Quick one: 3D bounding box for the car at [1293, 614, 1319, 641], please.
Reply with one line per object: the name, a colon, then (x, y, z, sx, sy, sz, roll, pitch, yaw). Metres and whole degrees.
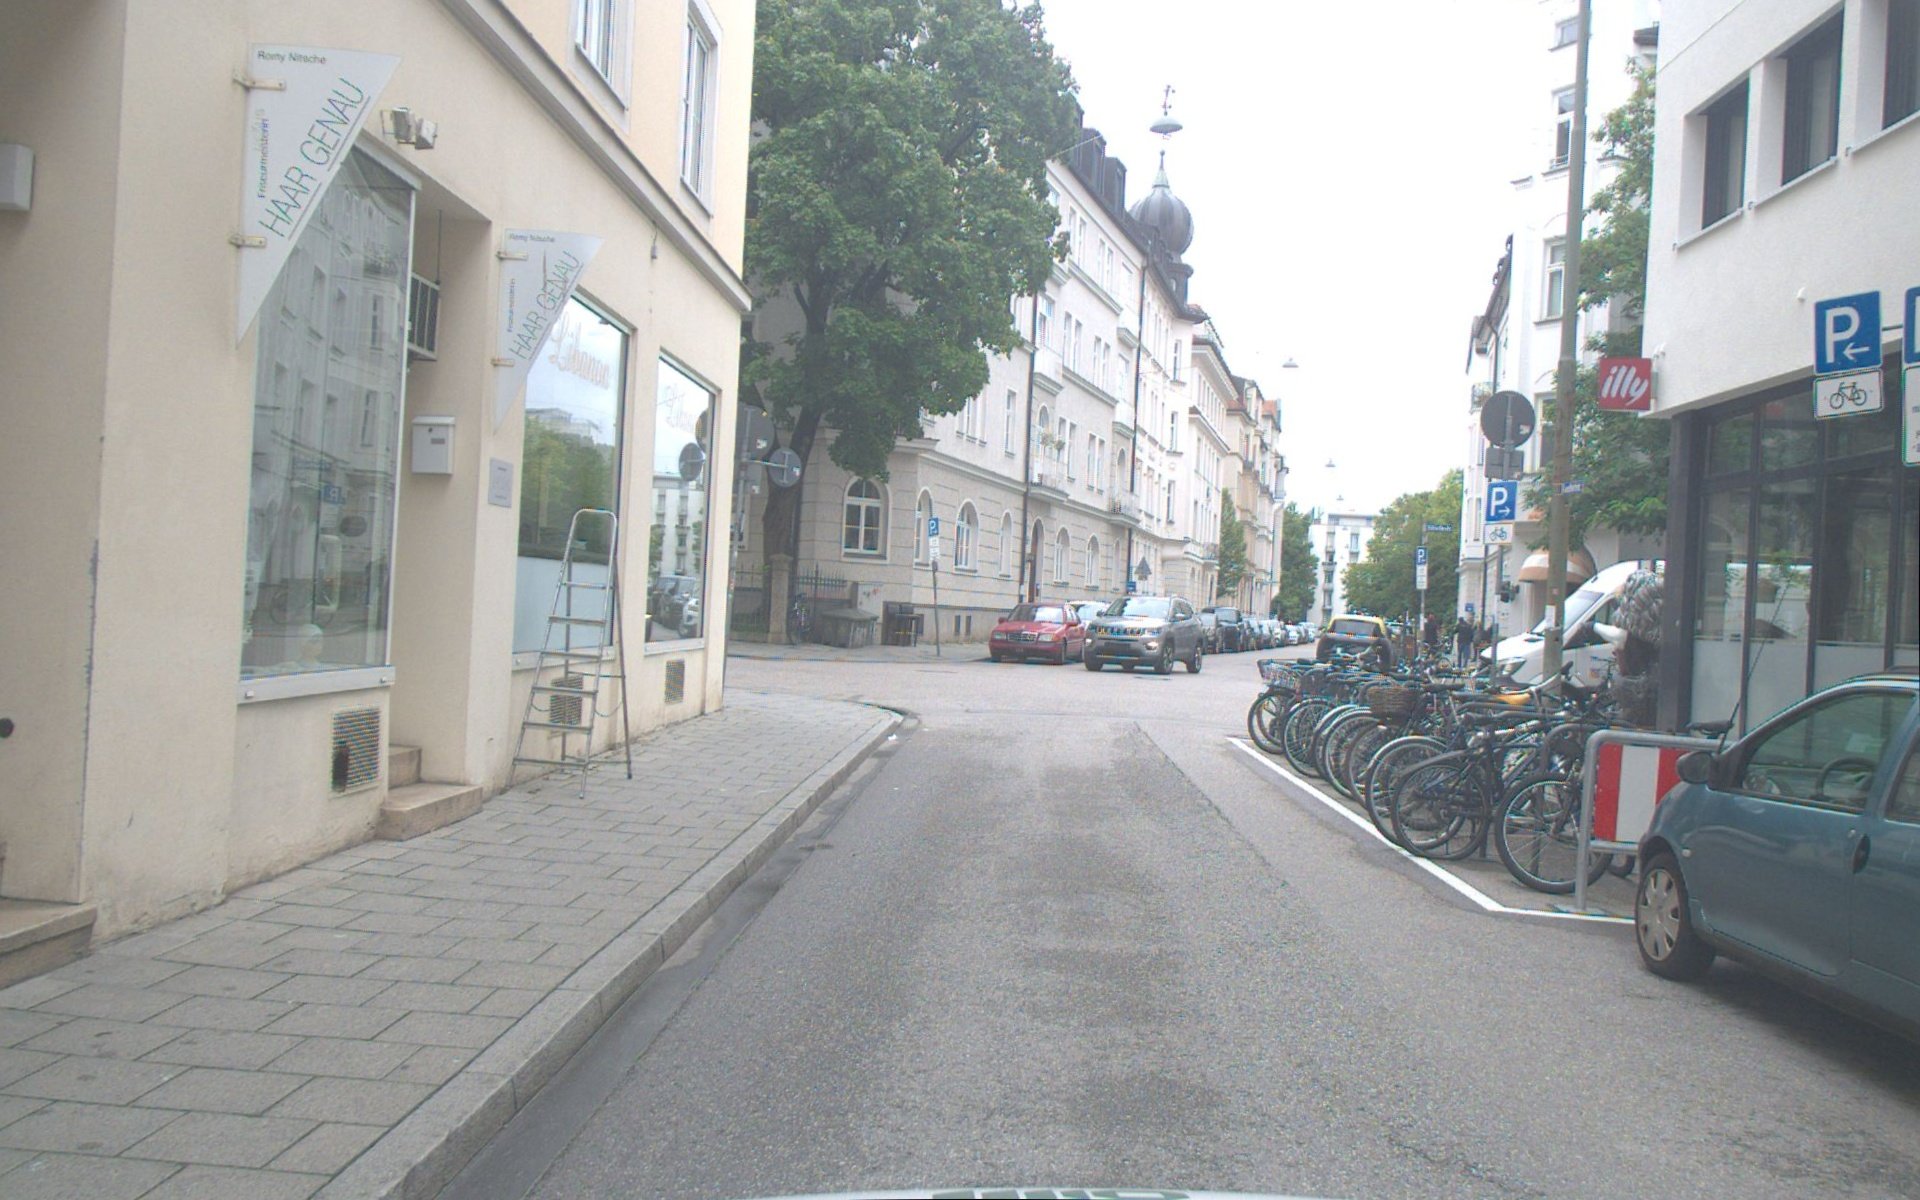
car: (28.416, 2.236, 135.718, 1.807, 2.048, 4.003, 3, 0, 14)

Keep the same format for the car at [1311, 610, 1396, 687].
car: (9.982, 1.189, 41.717, 1.782, 1.664, 4.291, 6, 0, 16)

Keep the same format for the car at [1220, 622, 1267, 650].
car: (13.900, 1.754, 80.867, 1.866, 1.243, 4.003, 3, 0, 15)

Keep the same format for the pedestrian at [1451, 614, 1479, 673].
pedestrian: (16.490, 1.412, 54.007, 0.762, 1.883, 1.023, 3, 0, 17)

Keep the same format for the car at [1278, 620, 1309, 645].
car: (23.907, 2.308, 118.452, 1.951, 1.601, 4.003, 3, 0, 13)

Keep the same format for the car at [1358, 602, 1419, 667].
car: (14.687, 1.161, 56.551, 1.782, 1.956, 4.186, 5, 0, 16)

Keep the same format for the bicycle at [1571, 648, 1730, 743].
bicycle: (9.431, 1.298, 22.641, 1.861, 1.147, 0.592, 4, 0, 7)

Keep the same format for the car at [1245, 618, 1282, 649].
car: (16.907, 1.851, 92.058, 1.782, 1.601, 4.003, 3, 0, 13)

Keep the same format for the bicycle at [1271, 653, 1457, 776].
bicycle: (4.057, 1.148, 16.664, 1.705, 1.098, 0.452, 3, 1, -1)

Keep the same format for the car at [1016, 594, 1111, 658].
car: (2.785, 0.673, 43.597, 1.951, 1.499, 4.222, 3, 0, 10)

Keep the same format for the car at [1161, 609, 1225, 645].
car: (9.192, 1.058, 64.960, 1.867, 1.243, 4.002, 3, 0, 16)

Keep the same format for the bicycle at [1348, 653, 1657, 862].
bicycle: (3.588, 1.032, 11.013, 1.835, 1.225, 0.488, 3, 1, 0)

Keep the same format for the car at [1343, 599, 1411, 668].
car: (13.096, 1.039, 51.774, 1.782, 1.903, 4.291, 5, 0, 16)

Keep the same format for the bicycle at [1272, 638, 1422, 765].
bicycle: (4.080, 1.069, 17.448, 1.423, 1.228, 0.395, 4, 0, -5)

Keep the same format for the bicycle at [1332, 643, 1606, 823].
bicycle: (3.799, 0.981, 12.421, 1.835, 1.225, 0.579, 2, 0, 0)

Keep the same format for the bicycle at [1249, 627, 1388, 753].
bicycle: (4.089, 1.019, 18.910, 1.426, 1.307, 0.445, 4, 0, 3)

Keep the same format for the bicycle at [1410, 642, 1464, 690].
bicycle: (10.826, 1.490, 37.617, 0.529, 1.016, 1.753, 0, 0, -7)

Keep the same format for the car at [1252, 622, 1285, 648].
car: (18.266, 2.057, 97.864, 1.697, 1.444, 4.003, 3, 0, 13)

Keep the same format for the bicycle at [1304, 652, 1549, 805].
bicycle: (3.815, 1.047, 13.592, 1.836, 1.114, 0.440, 3, 1, -1)

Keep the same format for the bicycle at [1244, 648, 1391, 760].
bicycle: (3.861, 1.122, 17.908, 1.423, 1.088, 0.463, 4, 0, -5)

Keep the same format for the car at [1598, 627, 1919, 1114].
car: (3.856, 0.922, 6.192, 1.548, 1.489, 3.552, 3, 0, 1)

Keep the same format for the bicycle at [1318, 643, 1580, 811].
bicycle: (3.834, 0.987, 13.048, 1.855, 1.190, 0.566, 3, 0, 0)

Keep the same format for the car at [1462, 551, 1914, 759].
car: (10.796, 0.756, 24.978, 5.769, 2.636, 2.061, 4, 1, 7)

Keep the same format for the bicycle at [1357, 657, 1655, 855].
bicycle: (3.831, 1.085, 11.686, 1.836, 1.177, 0.565, 5, 1, 0)

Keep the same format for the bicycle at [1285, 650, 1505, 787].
bicycle: (3.927, 1.067, 14.990, 1.836, 1.098, 0.402, 3, 1, -1)

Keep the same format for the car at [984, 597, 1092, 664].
car: (1.898, 0.706, 38.977, 1.694, 1.402, 4.229, 3, 0, 14)

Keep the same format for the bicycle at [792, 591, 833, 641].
bicycle: (-3.374, 0.355, 37.996, 0.483, 1.070, 1.828, 3, 2, 7)

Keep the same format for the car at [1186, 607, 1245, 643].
car: (10.756, 1.066, 69.521, 1.867, 1.352, 4.002, 3, 0, 16)

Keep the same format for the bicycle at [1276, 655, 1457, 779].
bicycle: (3.986, 1.143, 16.253, 1.640, 1.098, 0.336, 3, 1, -1)

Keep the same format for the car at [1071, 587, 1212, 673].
car: (3.996, 0.640, 35.790, 1.917, 1.635, 4.308, 3, 0, 21)

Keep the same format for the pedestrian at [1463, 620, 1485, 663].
pedestrian: (23.058, 1.868, 74.152, 0.762, 1.883, 0.859, 3, 0, 23)

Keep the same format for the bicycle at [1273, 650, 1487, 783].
bicycle: (3.908, 1.076, 15.430, 1.836, 1.098, 0.408, 3, 1, -1)

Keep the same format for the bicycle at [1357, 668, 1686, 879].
bicycle: (3.537, 1.085, 10.494, 1.836, 1.127, 0.488, 5, 1, 0)

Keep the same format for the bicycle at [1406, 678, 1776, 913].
bicycle: (3.571, 1.099, 9.441, 1.836, 1.098, 0.488, 6, 1, 0)

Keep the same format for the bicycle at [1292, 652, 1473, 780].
bicycle: (4.040, 1.105, 15.865, 1.580, 1.098, 0.378, 3, 1, -1)

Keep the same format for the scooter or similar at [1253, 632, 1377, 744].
scooter or similar: (4.219, 1.041, 19.703, 1.324, 1.231, 0.418, 3, 0, 4)

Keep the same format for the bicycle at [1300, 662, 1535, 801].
bicycle: (3.934, 1.125, 14.290, 1.836, 1.070, 0.564, 3, -2, -1)

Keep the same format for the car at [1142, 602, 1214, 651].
car: (7.910, 0.946, 59.647, 1.885, 1.573, 4.002, 4, 0, 17)

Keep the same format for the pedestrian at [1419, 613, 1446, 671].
pedestrian: (15.632, 1.385, 54.749, 0.762, 1.883, 1.023, 3, 0, 17)
